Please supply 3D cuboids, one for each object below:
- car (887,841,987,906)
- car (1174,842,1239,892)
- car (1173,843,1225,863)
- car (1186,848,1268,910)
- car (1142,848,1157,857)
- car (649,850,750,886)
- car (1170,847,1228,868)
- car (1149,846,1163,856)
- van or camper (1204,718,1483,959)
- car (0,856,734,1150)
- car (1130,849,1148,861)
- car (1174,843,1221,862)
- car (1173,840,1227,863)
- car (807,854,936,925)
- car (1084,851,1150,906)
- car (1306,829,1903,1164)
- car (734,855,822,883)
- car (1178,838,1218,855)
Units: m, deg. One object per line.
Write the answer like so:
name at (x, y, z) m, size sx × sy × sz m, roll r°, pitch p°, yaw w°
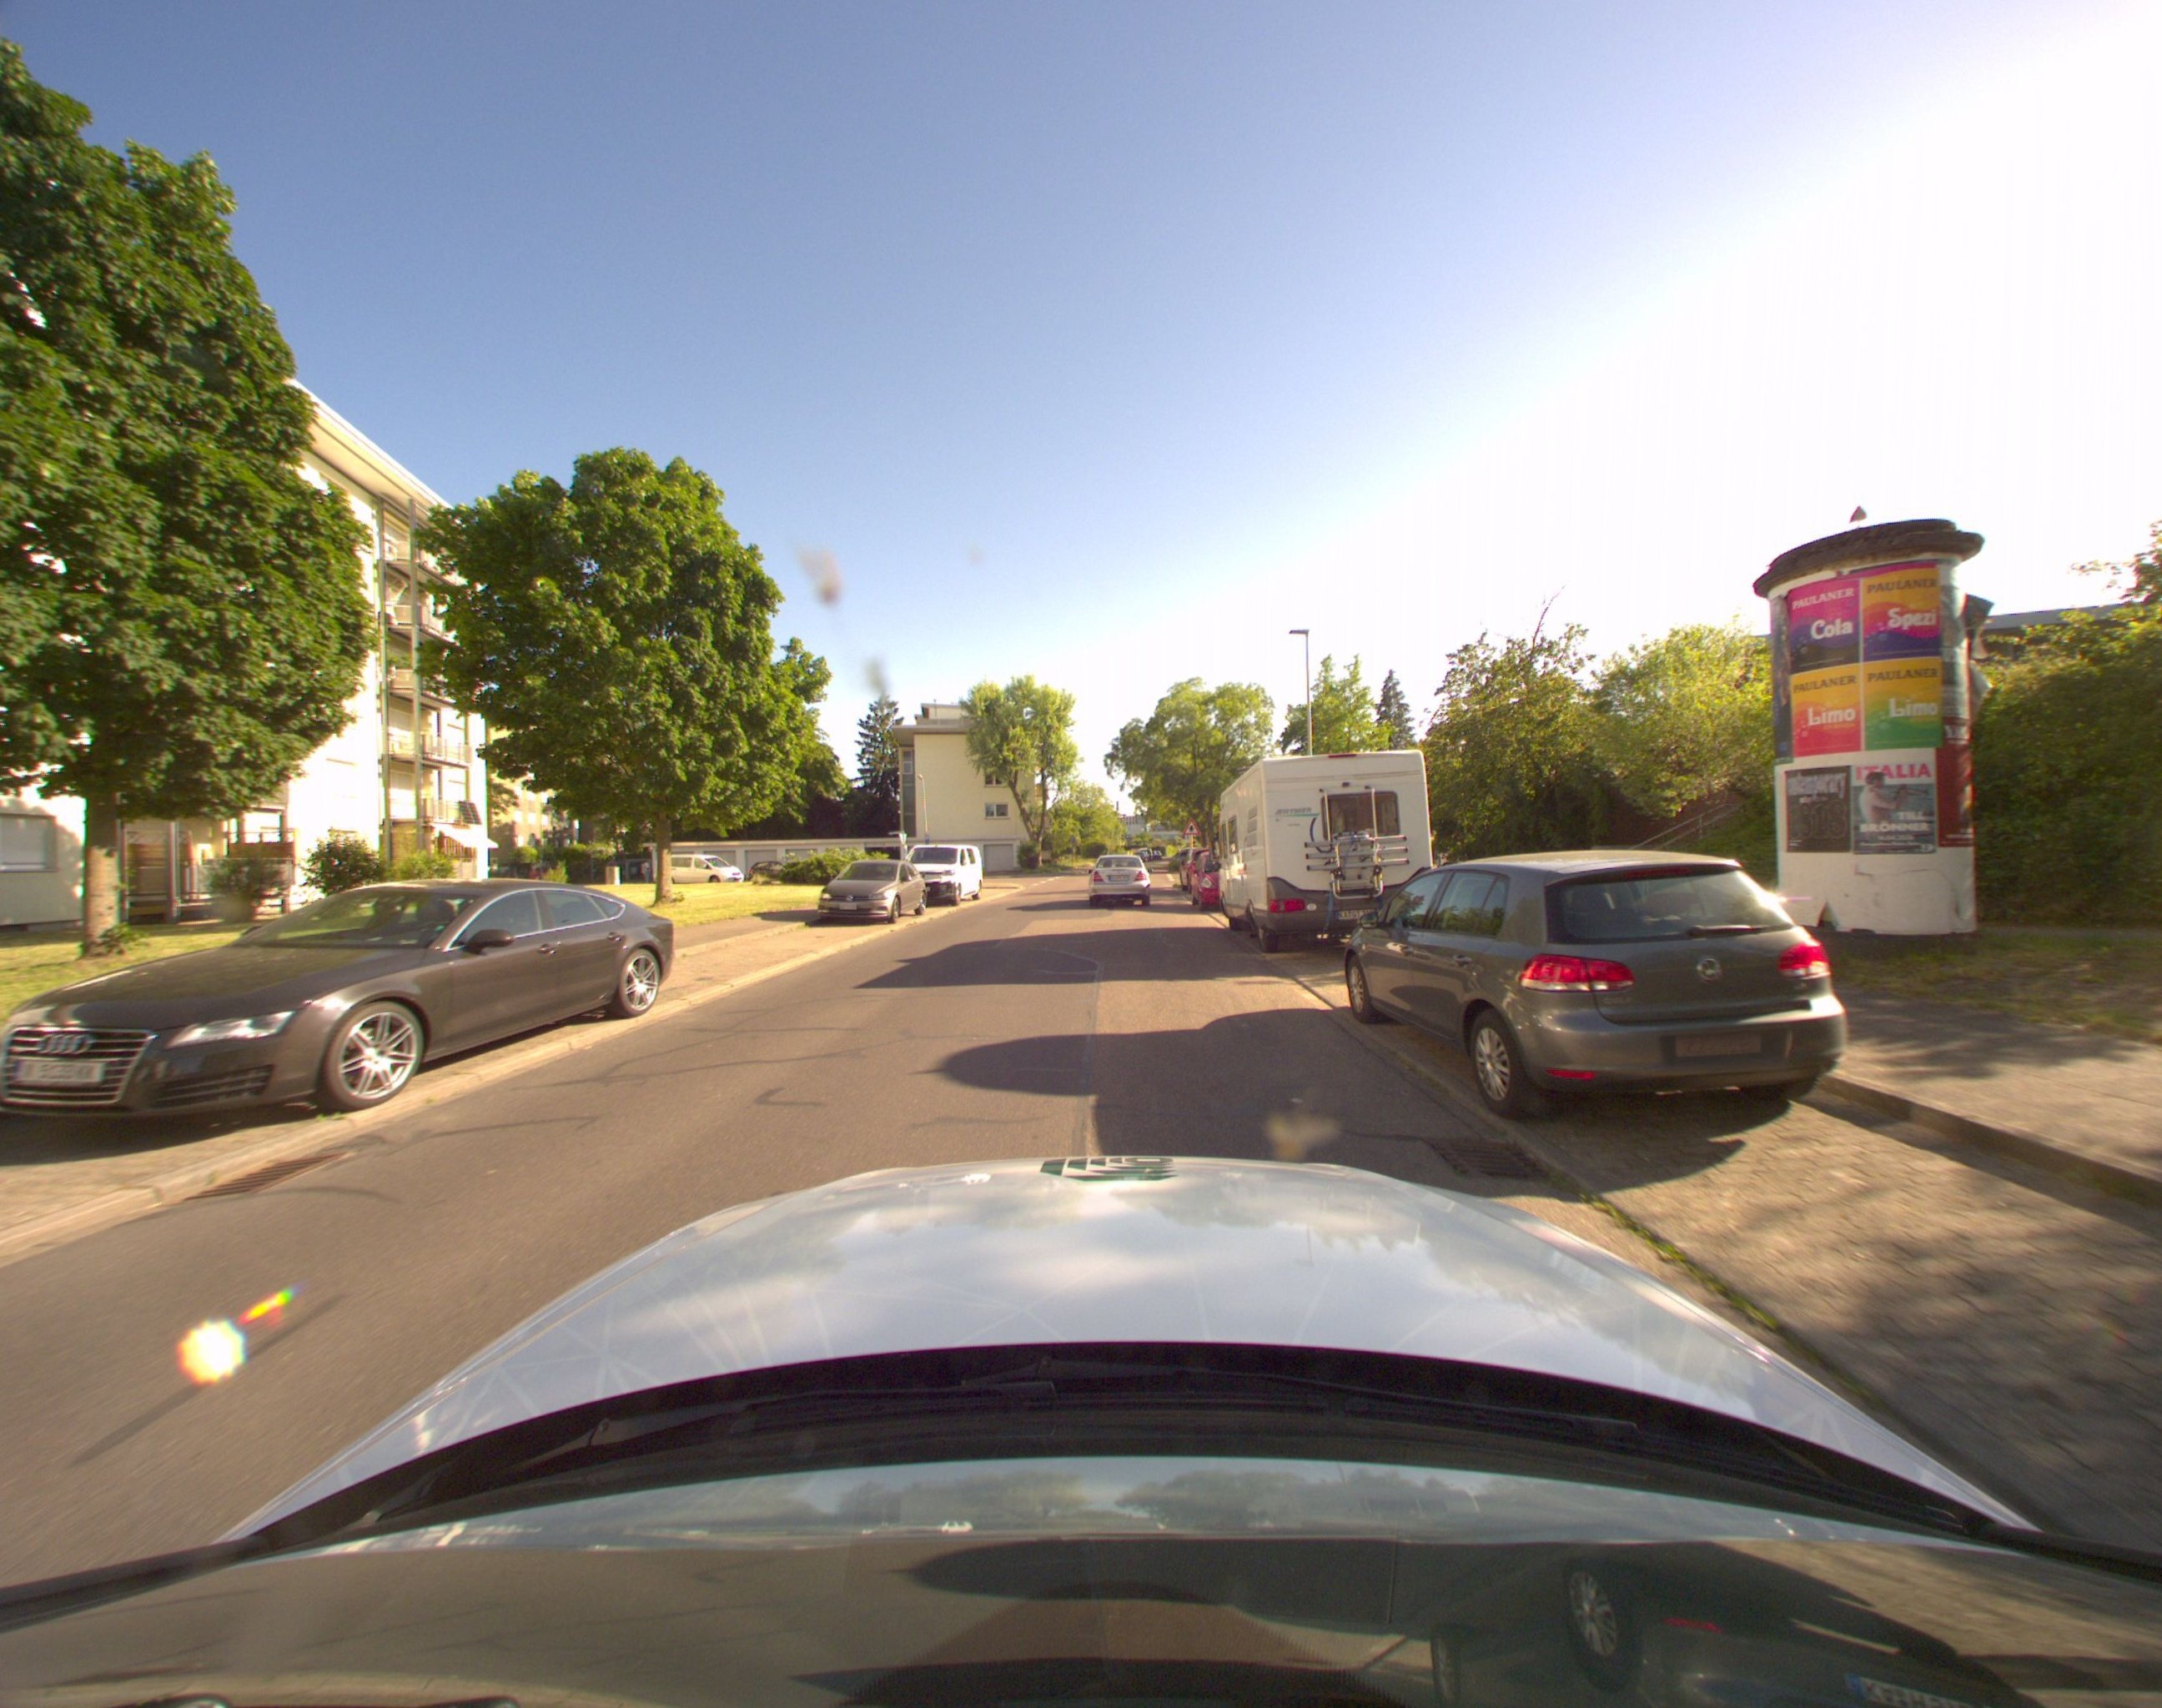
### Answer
car at (-4.510, 0.552, 26.354) m, size 2.005 × 1.885 × 5.196 m, roll 0°, pitch 0°, yaw 4°
car at (4.736, 0.448, 31.396) m, size 1.768 × 1.680 × 4.646 m, roll -4°, pitch 0°, yaw 1°
car at (10.207, -0.085, 70.627) m, size 4.402 × 1.571 × 1.741 m, roll -2°, pitch 0°, yaw 8°
car at (3.874, 0.605, 22.206) m, size 1.684 × 1.474 × 4.004 m, roll -2°, pitch 0°, yaw 3°
car at (10.908, -0.206, 129.832) m, size 1.738 × 1.330 × 3.463 m, roll -4°, pitch 0°, yaw 13°
car at (-23.069, 0.855, 49.355) m, size 5.074 × 1.951 × 2.244 m, roll -2°, pitch 0°, yaw 10°
car at (9.831, 0.287, 68.171) m, size 4.759 × 1.549 × 2.015 m, roll -2°, pitch 0°, yaw 5°
car at (12.500, -0.516, 136.136) m, size 1.738 × 1.520 × 4.207 m, roll -3°, pitch 0°, yaw 12°
van or camper at (3.713, -0.226, 13.345) m, size 2.487 × 2.845 × 6.855 m, roll -2°, pitch 1°, yaw 2°
car at (-5.256, 0.814, 7.071) m, size 2.027 × 1.492 × 5.260 m, roll 1°, pitch 1°, yaw 2°
car at (7.916, 0.069, 111.264) m, size 1.901 × 1.490 × 3.848 m, roll -4°, pitch 0°, yaw 11°
car at (12.245, -0.141, 85.580) m, size 4.856 × 1.723 × 2.005 m, roll -3°, pitch 0°, yaw 8°
car at (11.418, -0.238, 78.163) m, size 4.868 × 1.924 × 2.000 m, roll -2°, pitch 0°, yaw 0°
car at (-4.945, 0.774, 19.865) m, size 1.825 × 1.518 × 4.225 m, roll 0°, pitch 0°, yaw 3°
car at (1.065, 0.655, 23.400) m, size 1.725 × 1.434 × 3.441 m, roll -1°, pitch 0°, yaw 4°
car at (3.202, 0.682, 6.245) m, size 1.714 × 1.524 × 4.430 m, roll -5°, pitch 1°, yaw 1°
car at (-18.010, 0.908, 48.516) m, size 4.415 × 1.460 × 2.049 m, roll -2°, pitch 0°, yaw 9°
car at (15.512, -0.966, 108.014) m, size 5.186 × 2.059 × 2.006 m, roll -2°, pitch 0°, yaw 9°
